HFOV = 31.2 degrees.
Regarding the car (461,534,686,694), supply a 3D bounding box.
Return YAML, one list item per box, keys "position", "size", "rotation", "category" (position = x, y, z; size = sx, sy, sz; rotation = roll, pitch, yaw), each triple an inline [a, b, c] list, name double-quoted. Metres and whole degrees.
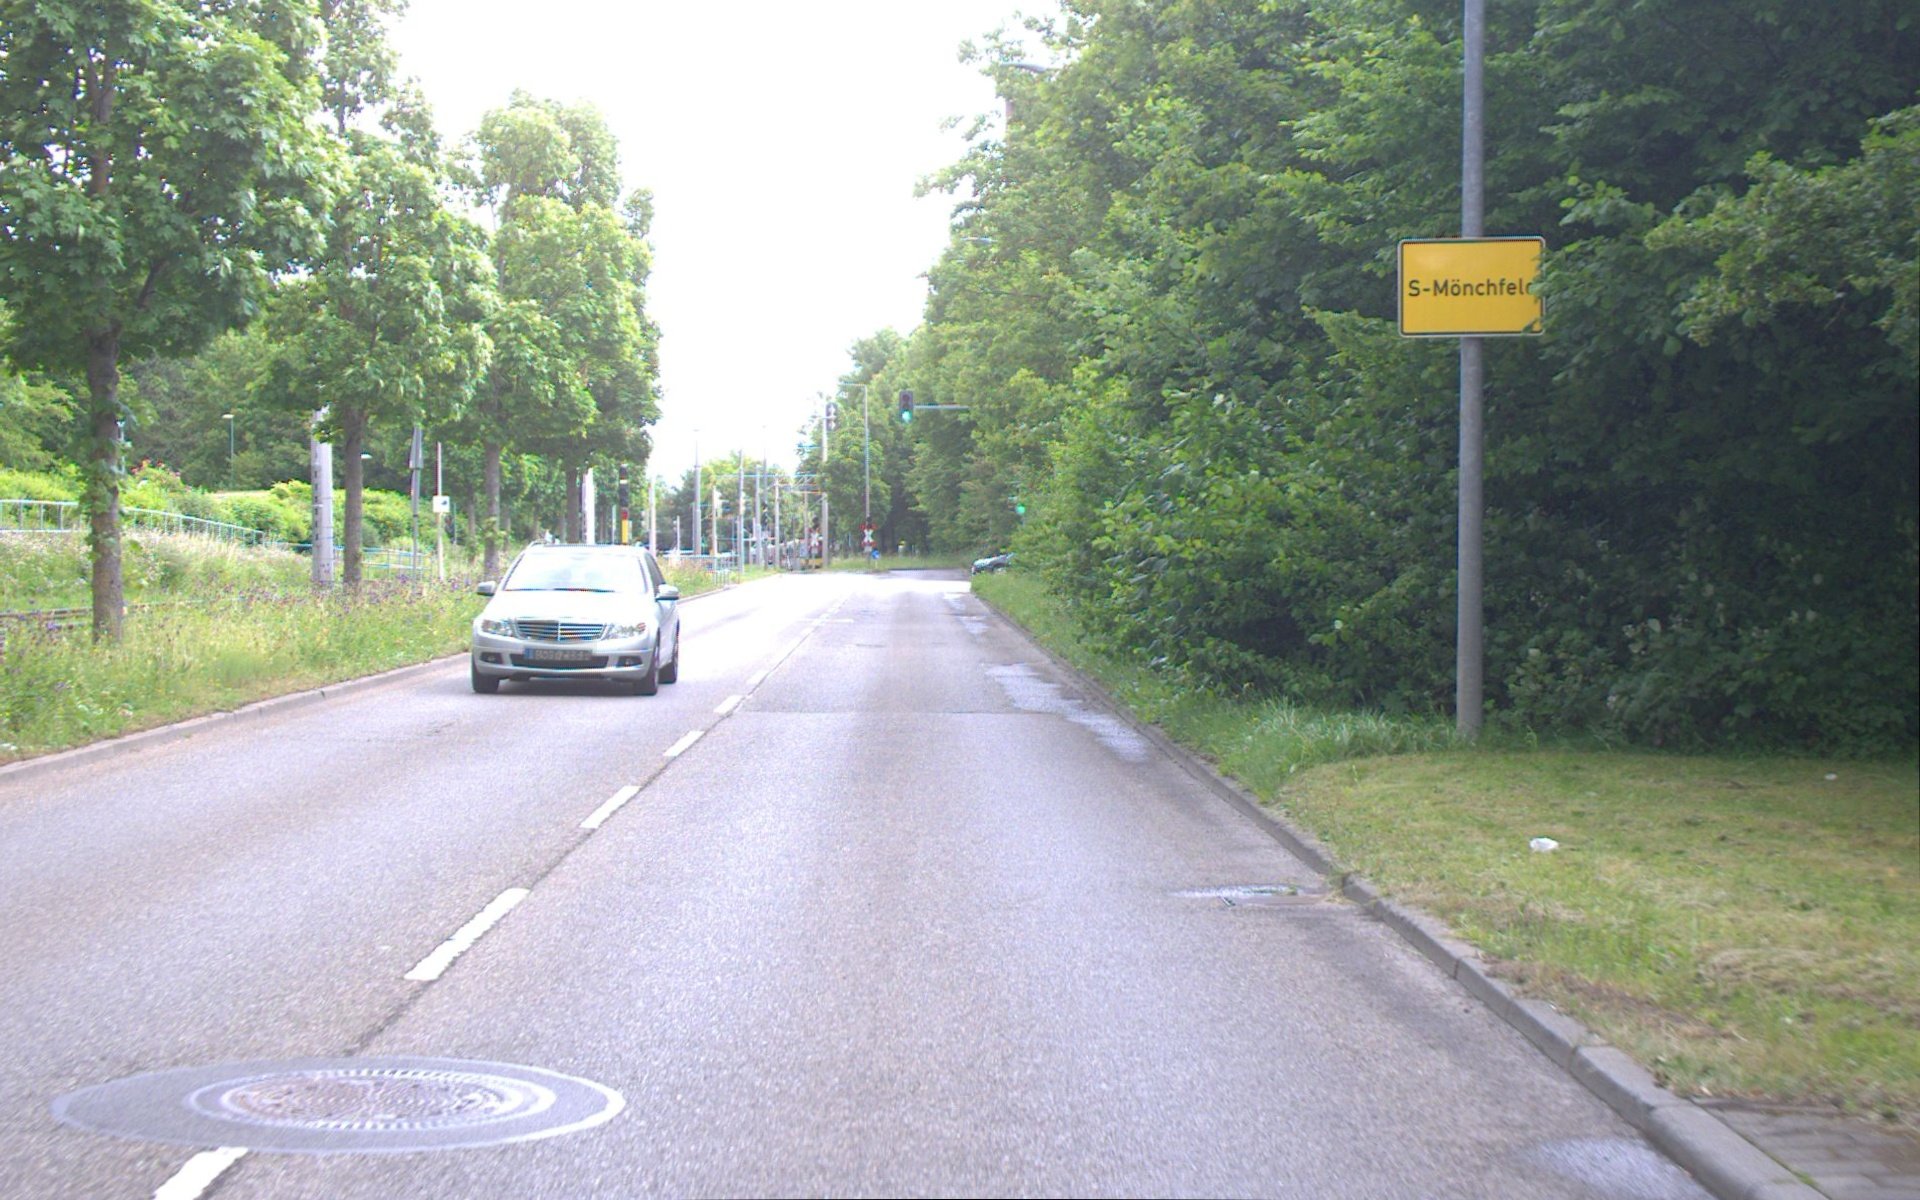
- position: [-3.779, 0.092, 34.214]
  size: [1.774, 1.464, 4.242]
  rotation: [1, 1, 0]
  category: "car"
